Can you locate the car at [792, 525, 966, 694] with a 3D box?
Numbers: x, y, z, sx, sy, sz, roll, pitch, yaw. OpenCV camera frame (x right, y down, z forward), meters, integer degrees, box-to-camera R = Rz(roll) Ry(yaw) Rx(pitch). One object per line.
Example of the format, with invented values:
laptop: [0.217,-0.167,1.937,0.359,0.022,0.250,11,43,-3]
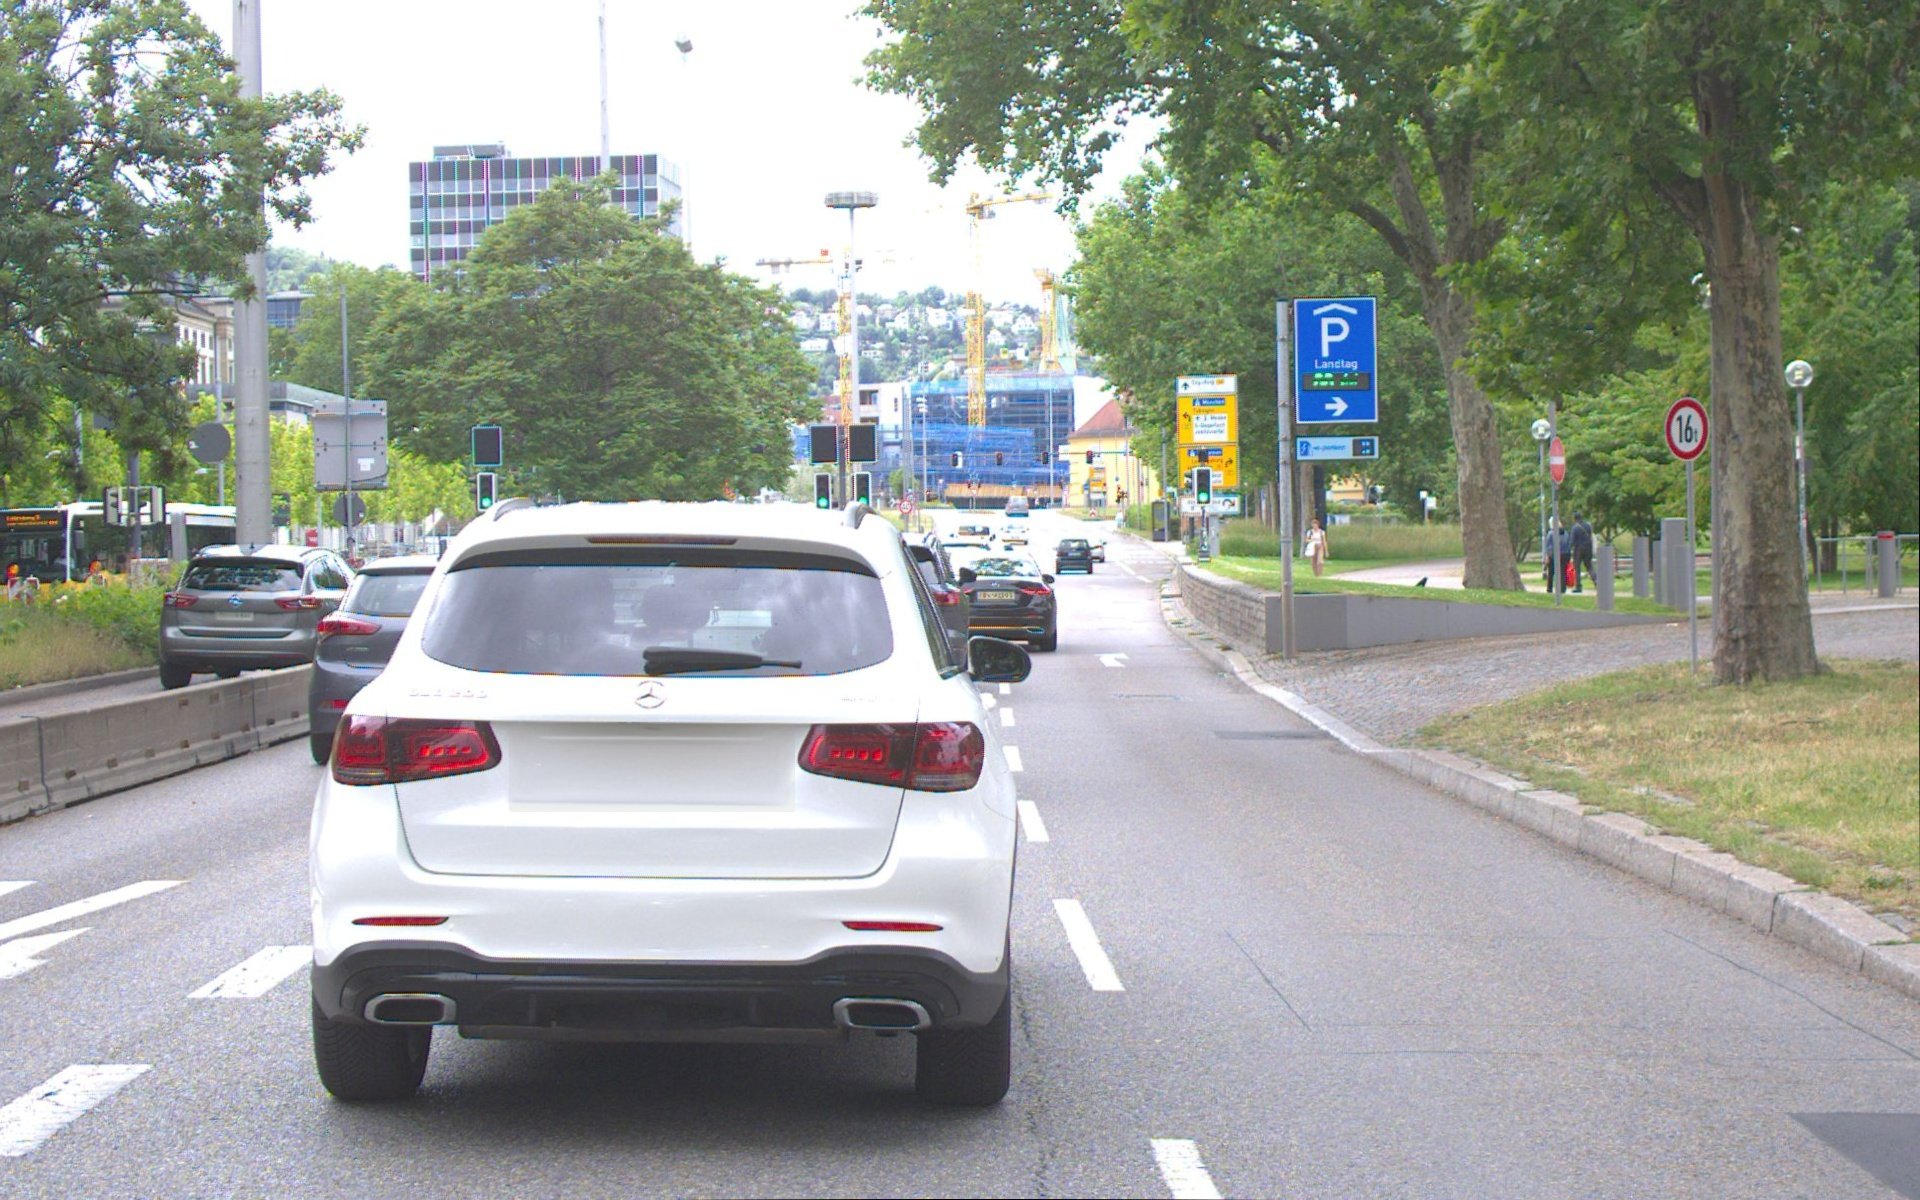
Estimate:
car: [-0.874,0.065,35.279,1.659,1.633,3.548,0,1,-3]

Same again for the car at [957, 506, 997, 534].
car: [0.833,-3.908,168.037,1.947,1.315,4.017,0,1,0]

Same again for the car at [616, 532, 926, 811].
car: [-1.282,0.388,22.166,1.795,1.603,3.756,-1,1,-5]

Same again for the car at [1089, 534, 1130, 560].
car: [7.637,-2.728,176.253,1.947,1.315,4.017,0,1,0]

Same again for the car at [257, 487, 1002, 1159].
car: [-0.775,0.504,10.525,1.788,1.619,4.437,0,1,1]

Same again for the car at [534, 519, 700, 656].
car: [-4.255,-0.171,43.287,1.851,1.622,4.907,0,0,-3]

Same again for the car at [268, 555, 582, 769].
car: [-3.800,0.389,25.013,1.797,1.432,4.021,0,1,-2]

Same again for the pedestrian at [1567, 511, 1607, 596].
pedestrian: [12.678,-0.944,69.542,0.759,1.719,0.699,-1,1,8]

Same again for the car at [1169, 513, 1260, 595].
car: [6.330,-1.144,85.712,1.993,2.007,4.000,0,1,0]

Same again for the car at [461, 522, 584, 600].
car: [-8.260,-0.769,65.206,1.776,1.415,4.000,-1,1,0]

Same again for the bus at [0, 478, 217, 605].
bus: [-23.783,-1.610,94.614,3.667,3.194,14.275,-1,1,-1]

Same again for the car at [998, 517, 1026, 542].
car: [3.486,-4.695,229.082,1.758,1.663,4.168,0,1,0]

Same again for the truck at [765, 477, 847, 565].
truck: [-5.150,-2.642,115.807,2.621,2.851,7.079,1,1,-2]

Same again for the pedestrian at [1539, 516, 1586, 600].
pedestrian: [11.698,-0.816,66.720,0.660,1.605,0.641,-1,1,-18]

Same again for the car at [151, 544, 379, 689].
car: [-7.225,0.150,36.079,1.661,1.431,3.961,0,0,-1]

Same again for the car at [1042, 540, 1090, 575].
car: [4.492,-1.806,145.770,1.947,1.423,4.017,0,1,0]

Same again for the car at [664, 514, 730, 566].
car: [-7.814,-1.784,102.422,1.659,1.508,3.547,-1,1,0]

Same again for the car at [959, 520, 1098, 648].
car: [0.946,-0.258,49.475,1.825,1.746,4.000,-1,1,-1]

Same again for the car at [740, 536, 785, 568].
car: [-8.217,-2.005,143.356,1.659,1.315,3.547,0,1,0]

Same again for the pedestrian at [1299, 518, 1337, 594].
pedestrian: [9.536,-1.164,91.550,0.761,2.007,0.697,0,1,36]
